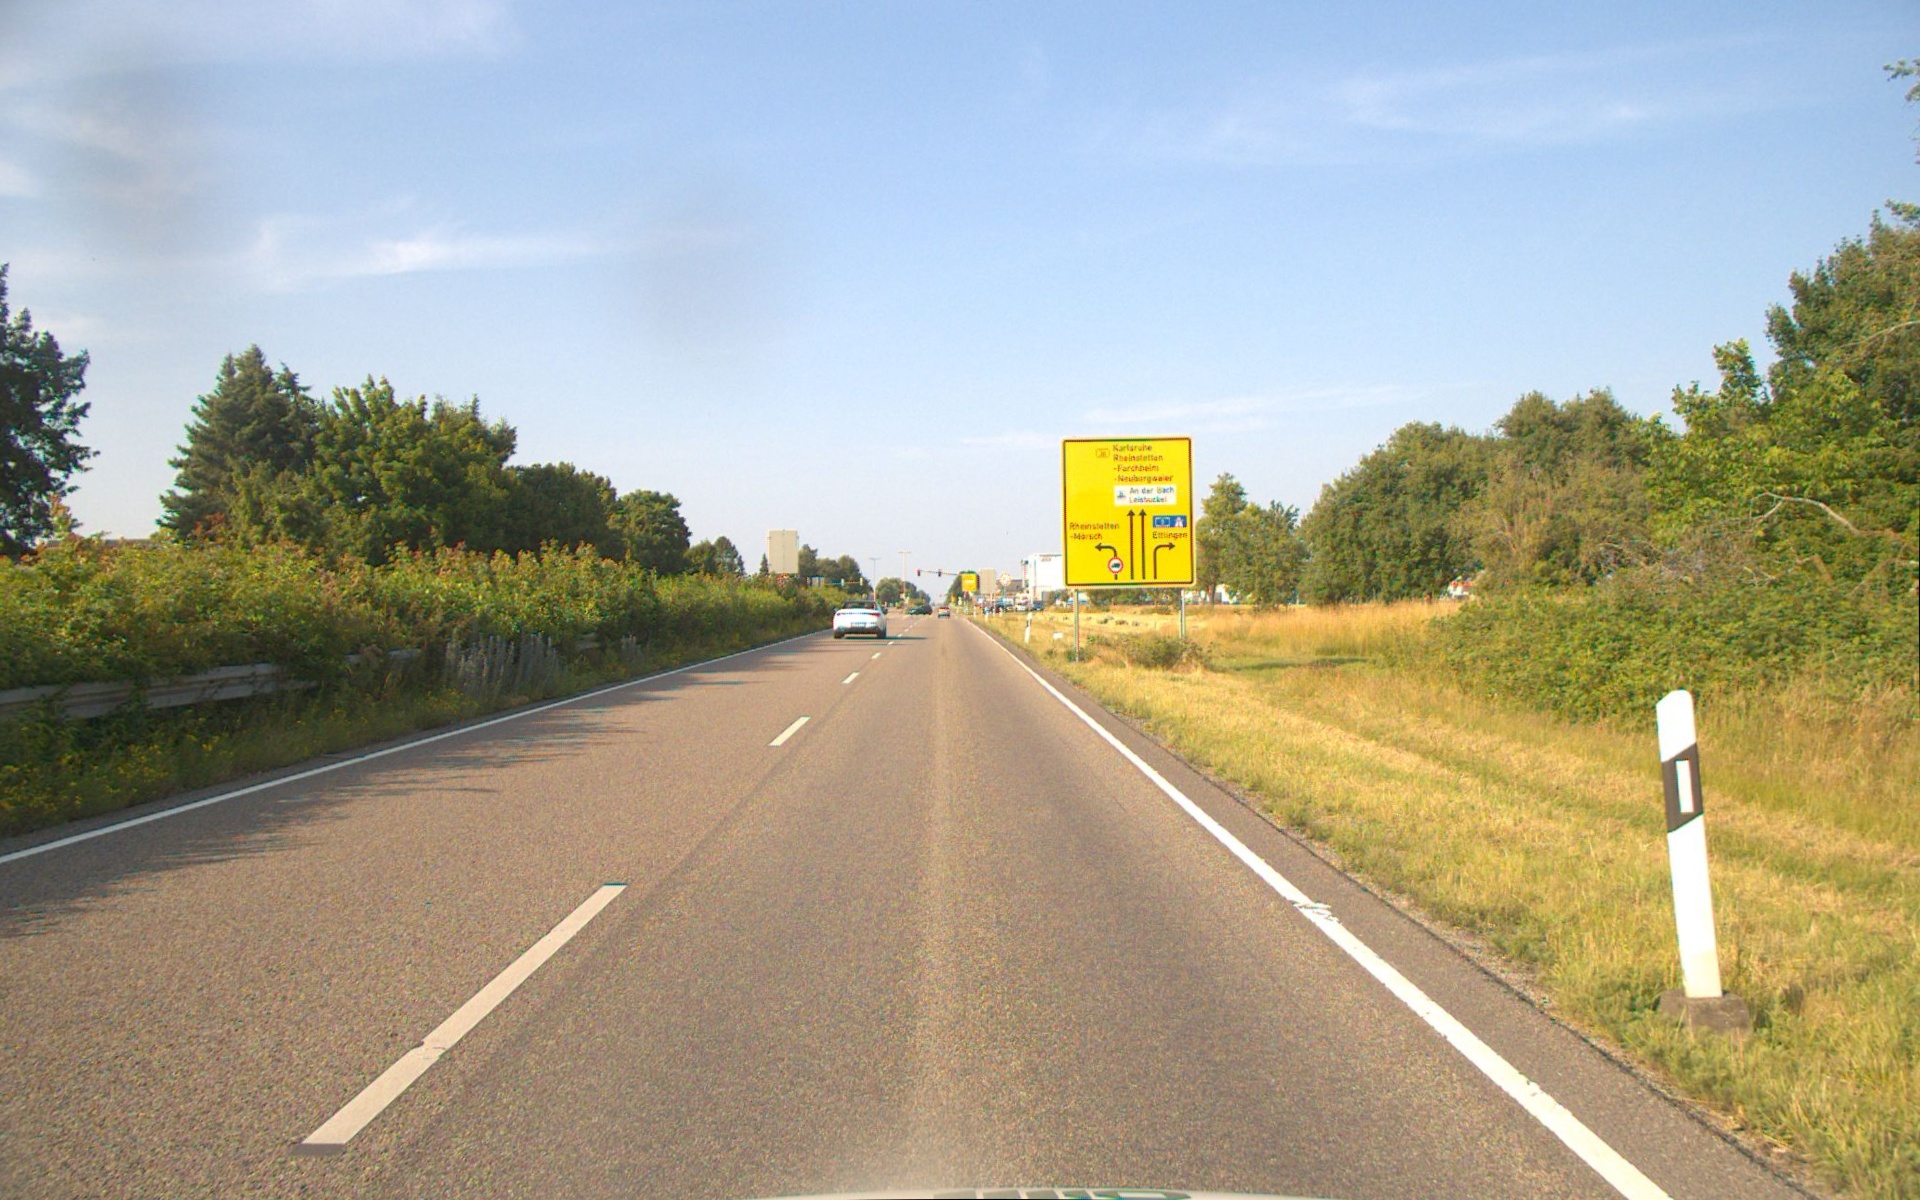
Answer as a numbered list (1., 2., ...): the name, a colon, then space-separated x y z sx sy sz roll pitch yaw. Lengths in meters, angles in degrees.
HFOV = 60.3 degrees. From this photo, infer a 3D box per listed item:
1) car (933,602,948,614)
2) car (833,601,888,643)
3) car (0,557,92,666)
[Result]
1. car: -2.753 1.104 230.341 1.953 1.512 3.999 0 0 -1
2. car: -3.601 0.784 60.514 1.871 1.447 3.999 0 0 -1
3. car: -13.551 0.148 22.055 1.697 1.447 4.395 0 0 -1
